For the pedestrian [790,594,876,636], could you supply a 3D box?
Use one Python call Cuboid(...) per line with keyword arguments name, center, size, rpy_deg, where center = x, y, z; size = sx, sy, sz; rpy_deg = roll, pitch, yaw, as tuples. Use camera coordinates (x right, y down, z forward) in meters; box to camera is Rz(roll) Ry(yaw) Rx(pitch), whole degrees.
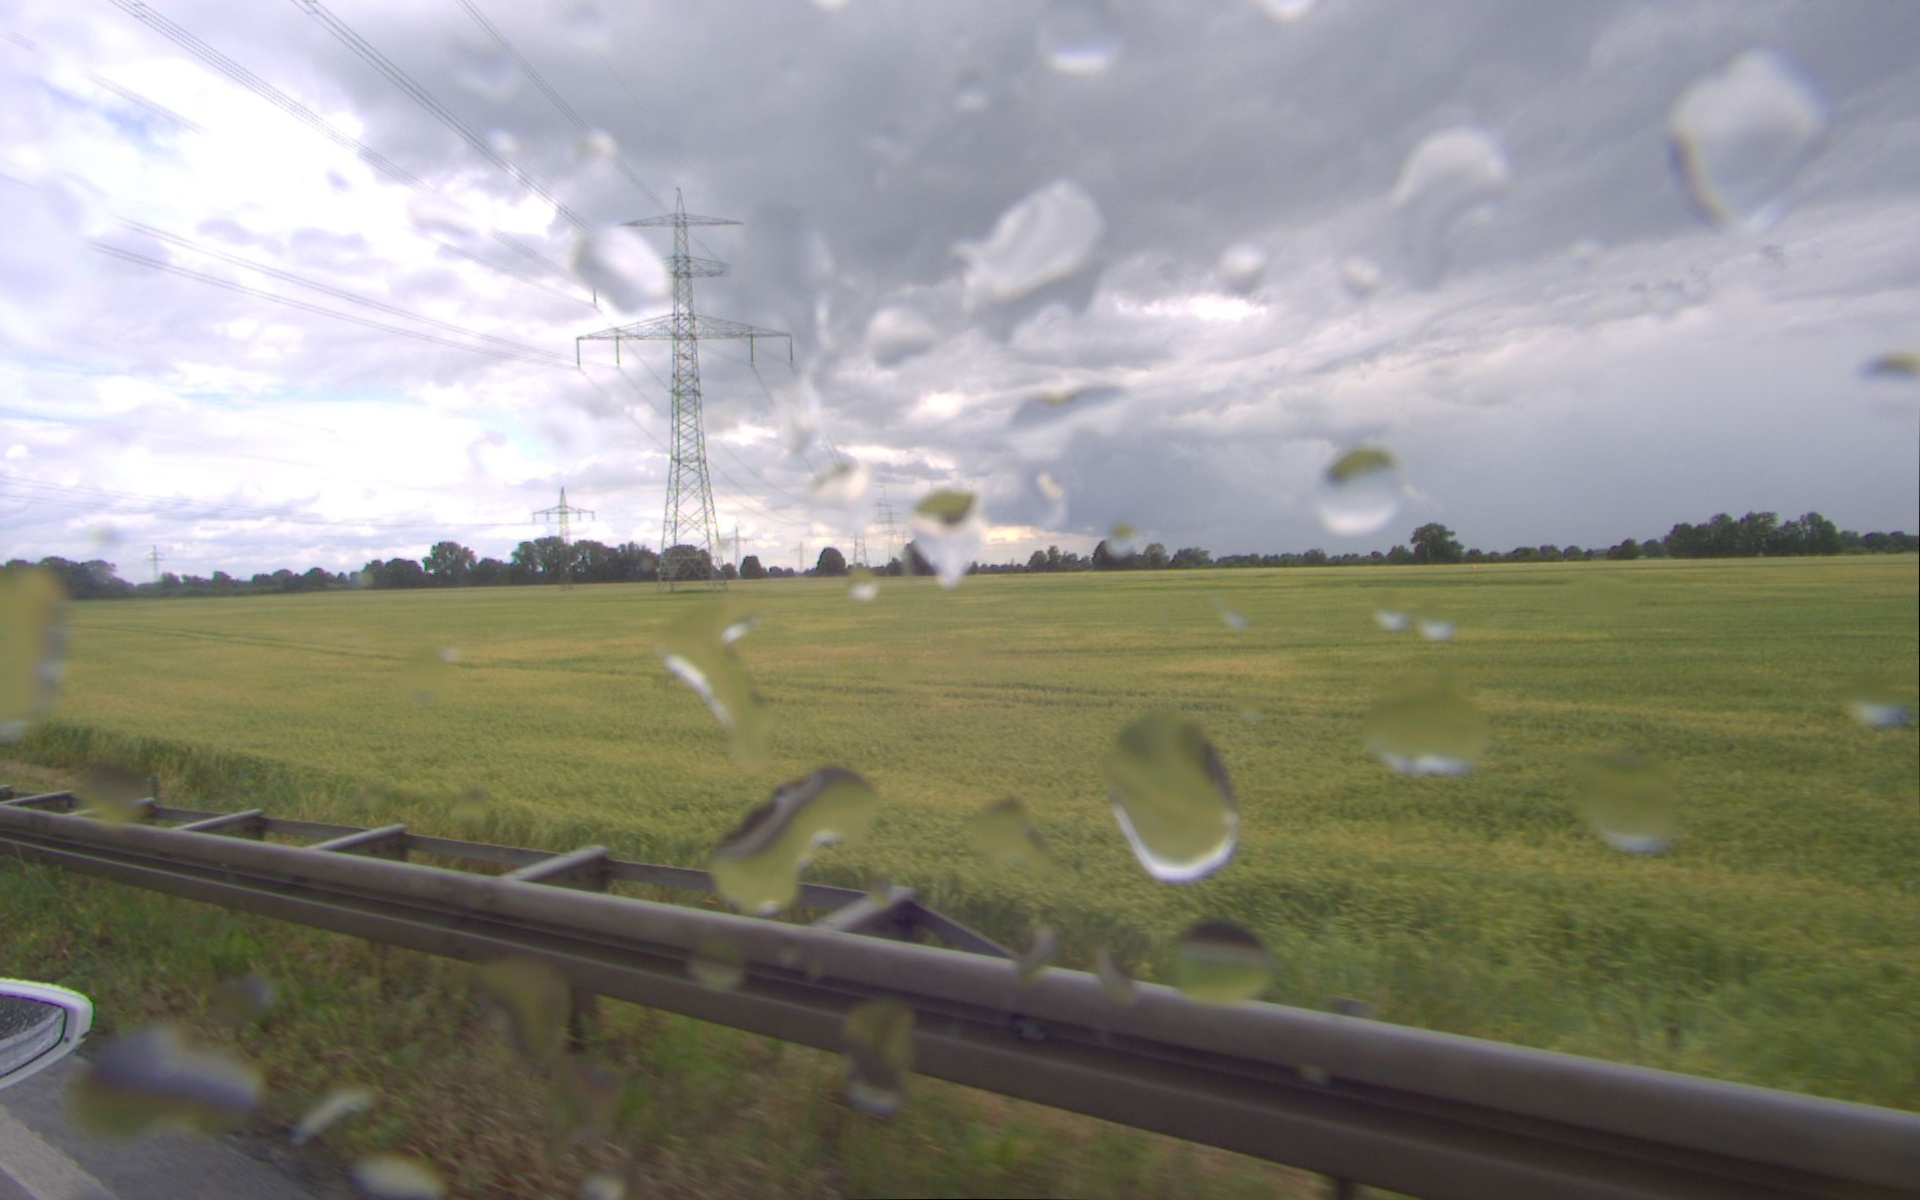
Cuboid(name="pedestrian", center=(-6.480, 0.787, 51.156), size=(3.939, 2.039, 1.992), rpy_deg=(-2, -2, 28))
